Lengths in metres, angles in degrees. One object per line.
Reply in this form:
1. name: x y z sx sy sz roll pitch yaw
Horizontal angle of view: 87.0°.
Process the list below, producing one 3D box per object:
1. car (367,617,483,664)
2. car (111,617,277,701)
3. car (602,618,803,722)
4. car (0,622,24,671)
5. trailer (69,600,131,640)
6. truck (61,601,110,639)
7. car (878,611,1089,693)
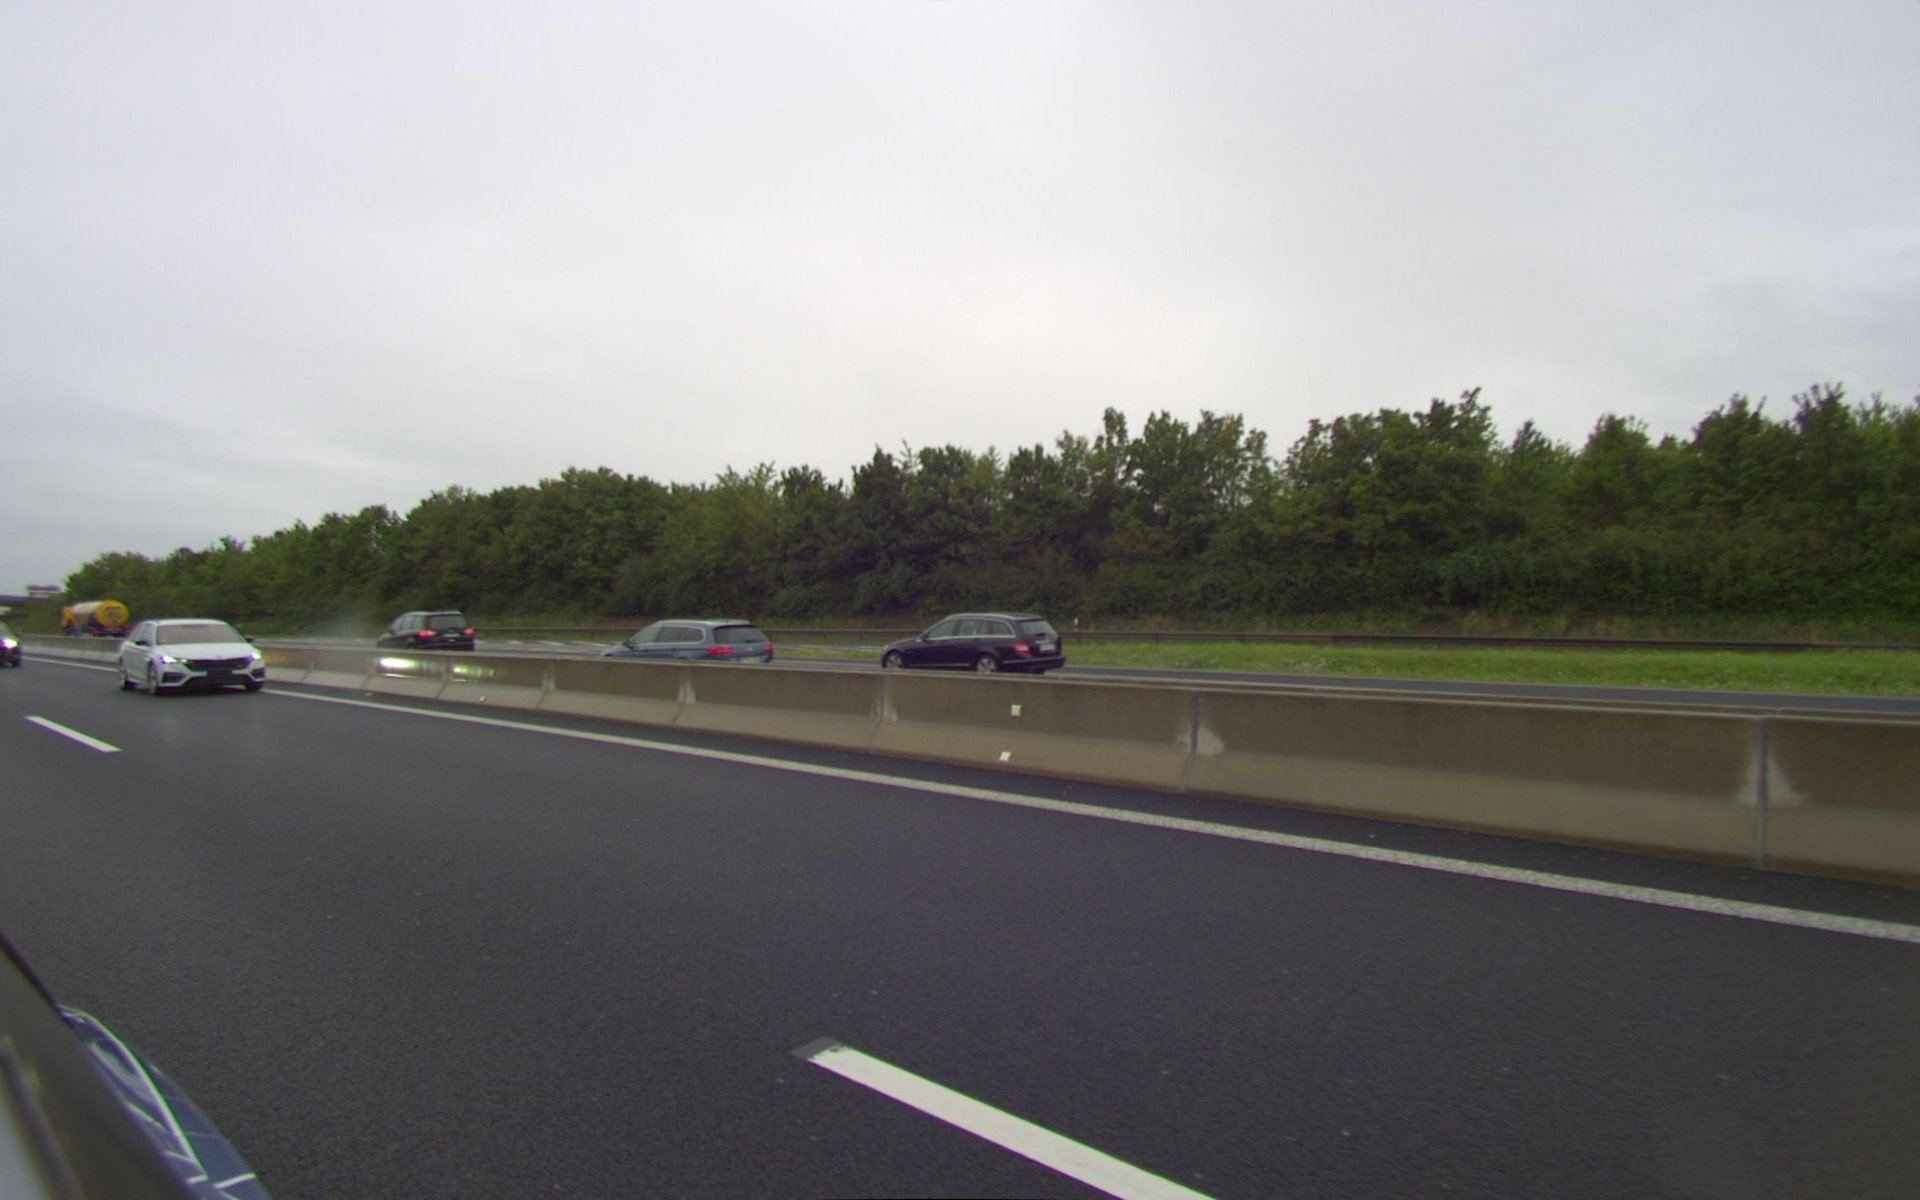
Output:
1. car: -18.332 1.360 34.594 4.635 1.518 1.962 -2 -2 41
2. car: -15.544 1.137 20.474 4.112 1.518 1.881 -2 -2 41
3. car: -5.416 1.355 21.067 4.169 1.916 1.974 -1 0 40
4. car: -31.532 1.478 32.367 4.112 1.518 1.881 -2 -2 41
5. trailer: -78.316 1.795 92.050 11.442 3.424 2.733 -1 0 42
6. truck: -83.171 1.891 96.236 5.843 3.424 2.733 -1 0 41
7. car: 0.442 1.098 22.284 4.419 1.627 1.962 -2 -2 41
